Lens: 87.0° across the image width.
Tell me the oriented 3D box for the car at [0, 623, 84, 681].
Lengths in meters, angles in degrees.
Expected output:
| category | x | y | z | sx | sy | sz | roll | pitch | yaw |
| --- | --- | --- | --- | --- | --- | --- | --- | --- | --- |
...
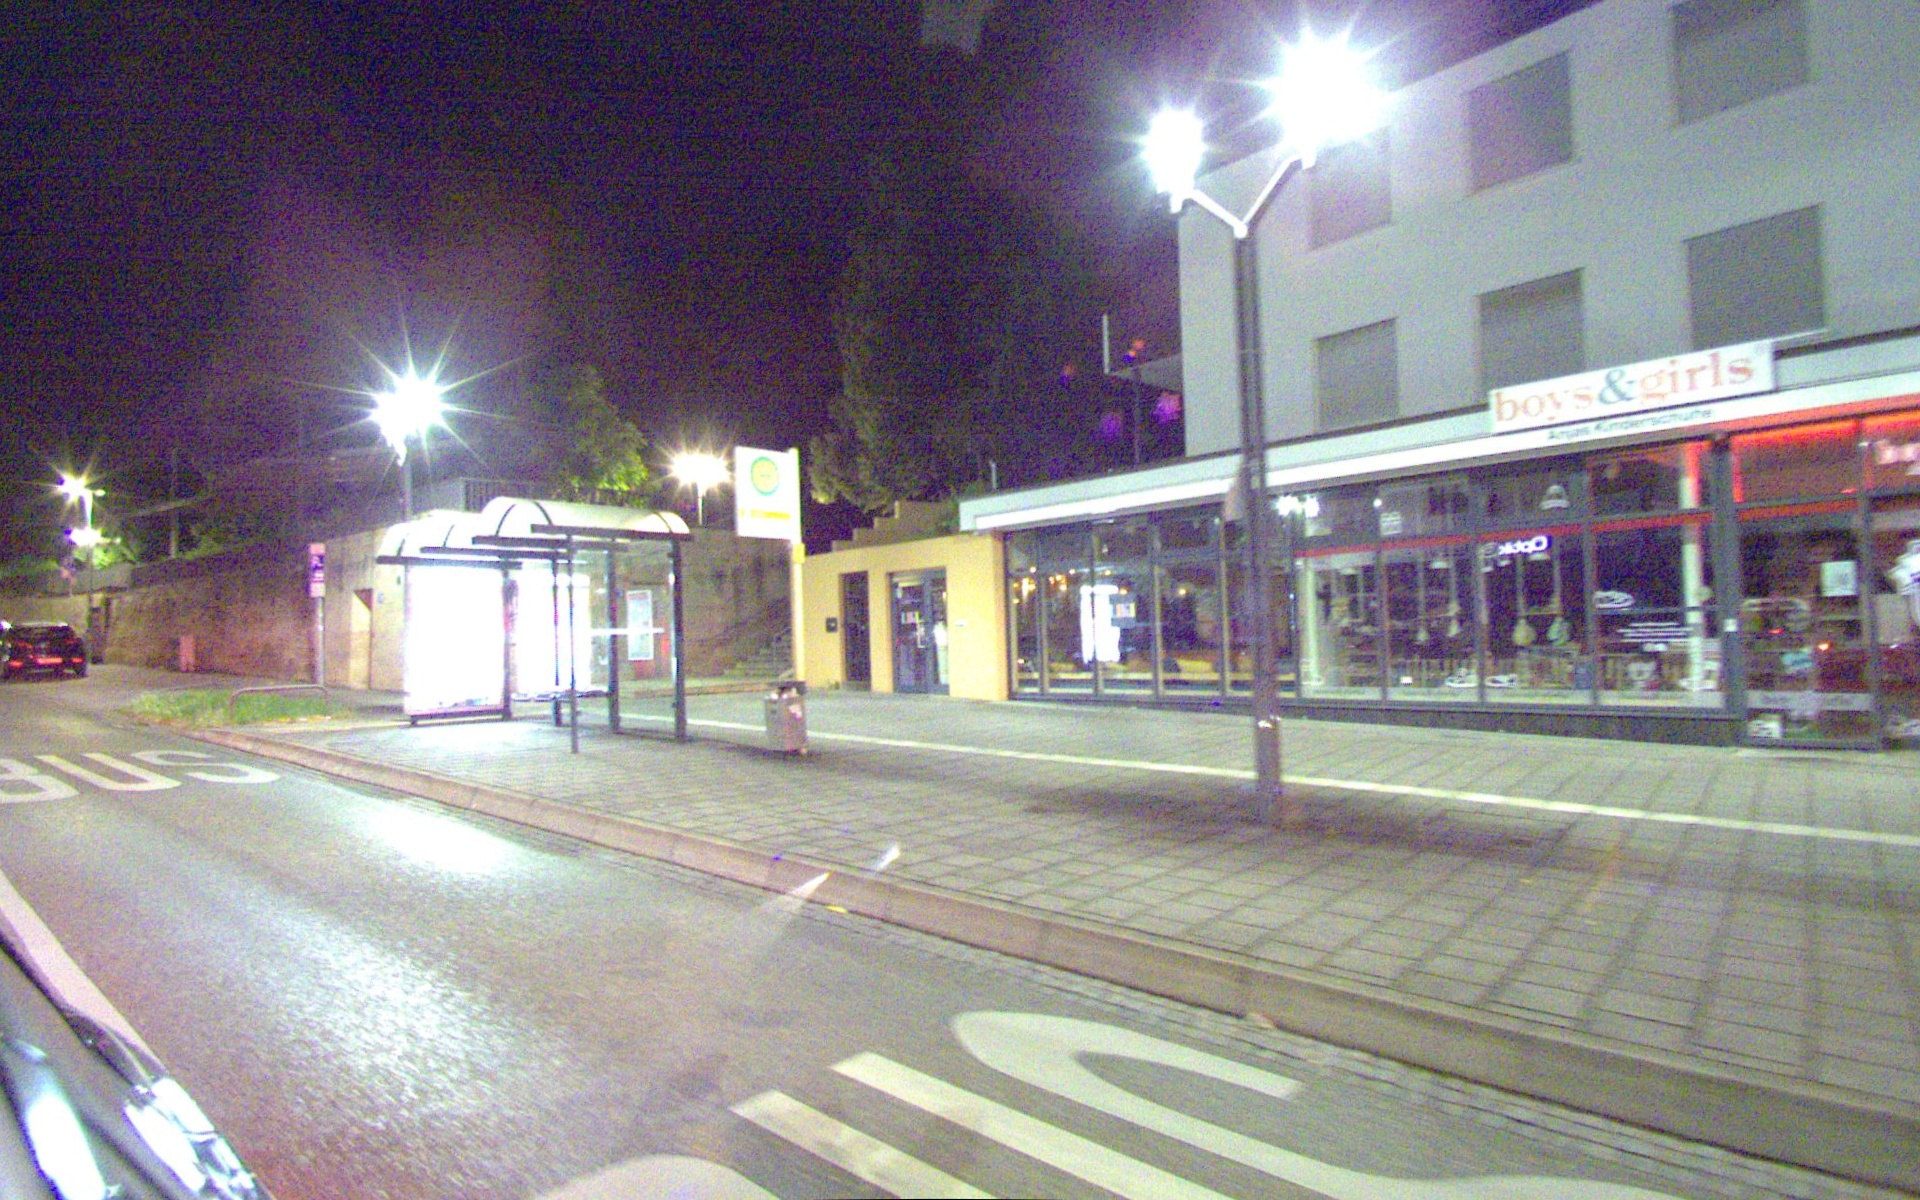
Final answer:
| category | x | y | z | sx | sy | sz | roll | pitch | yaw |
| --- | --- | --- | --- | --- | --- | --- | --- | --- | --- |
| car | -26.045 | 1.400 | 28.244 | 4.123 | 1.447 | 1.675 | -1 | 1 | 39 |
